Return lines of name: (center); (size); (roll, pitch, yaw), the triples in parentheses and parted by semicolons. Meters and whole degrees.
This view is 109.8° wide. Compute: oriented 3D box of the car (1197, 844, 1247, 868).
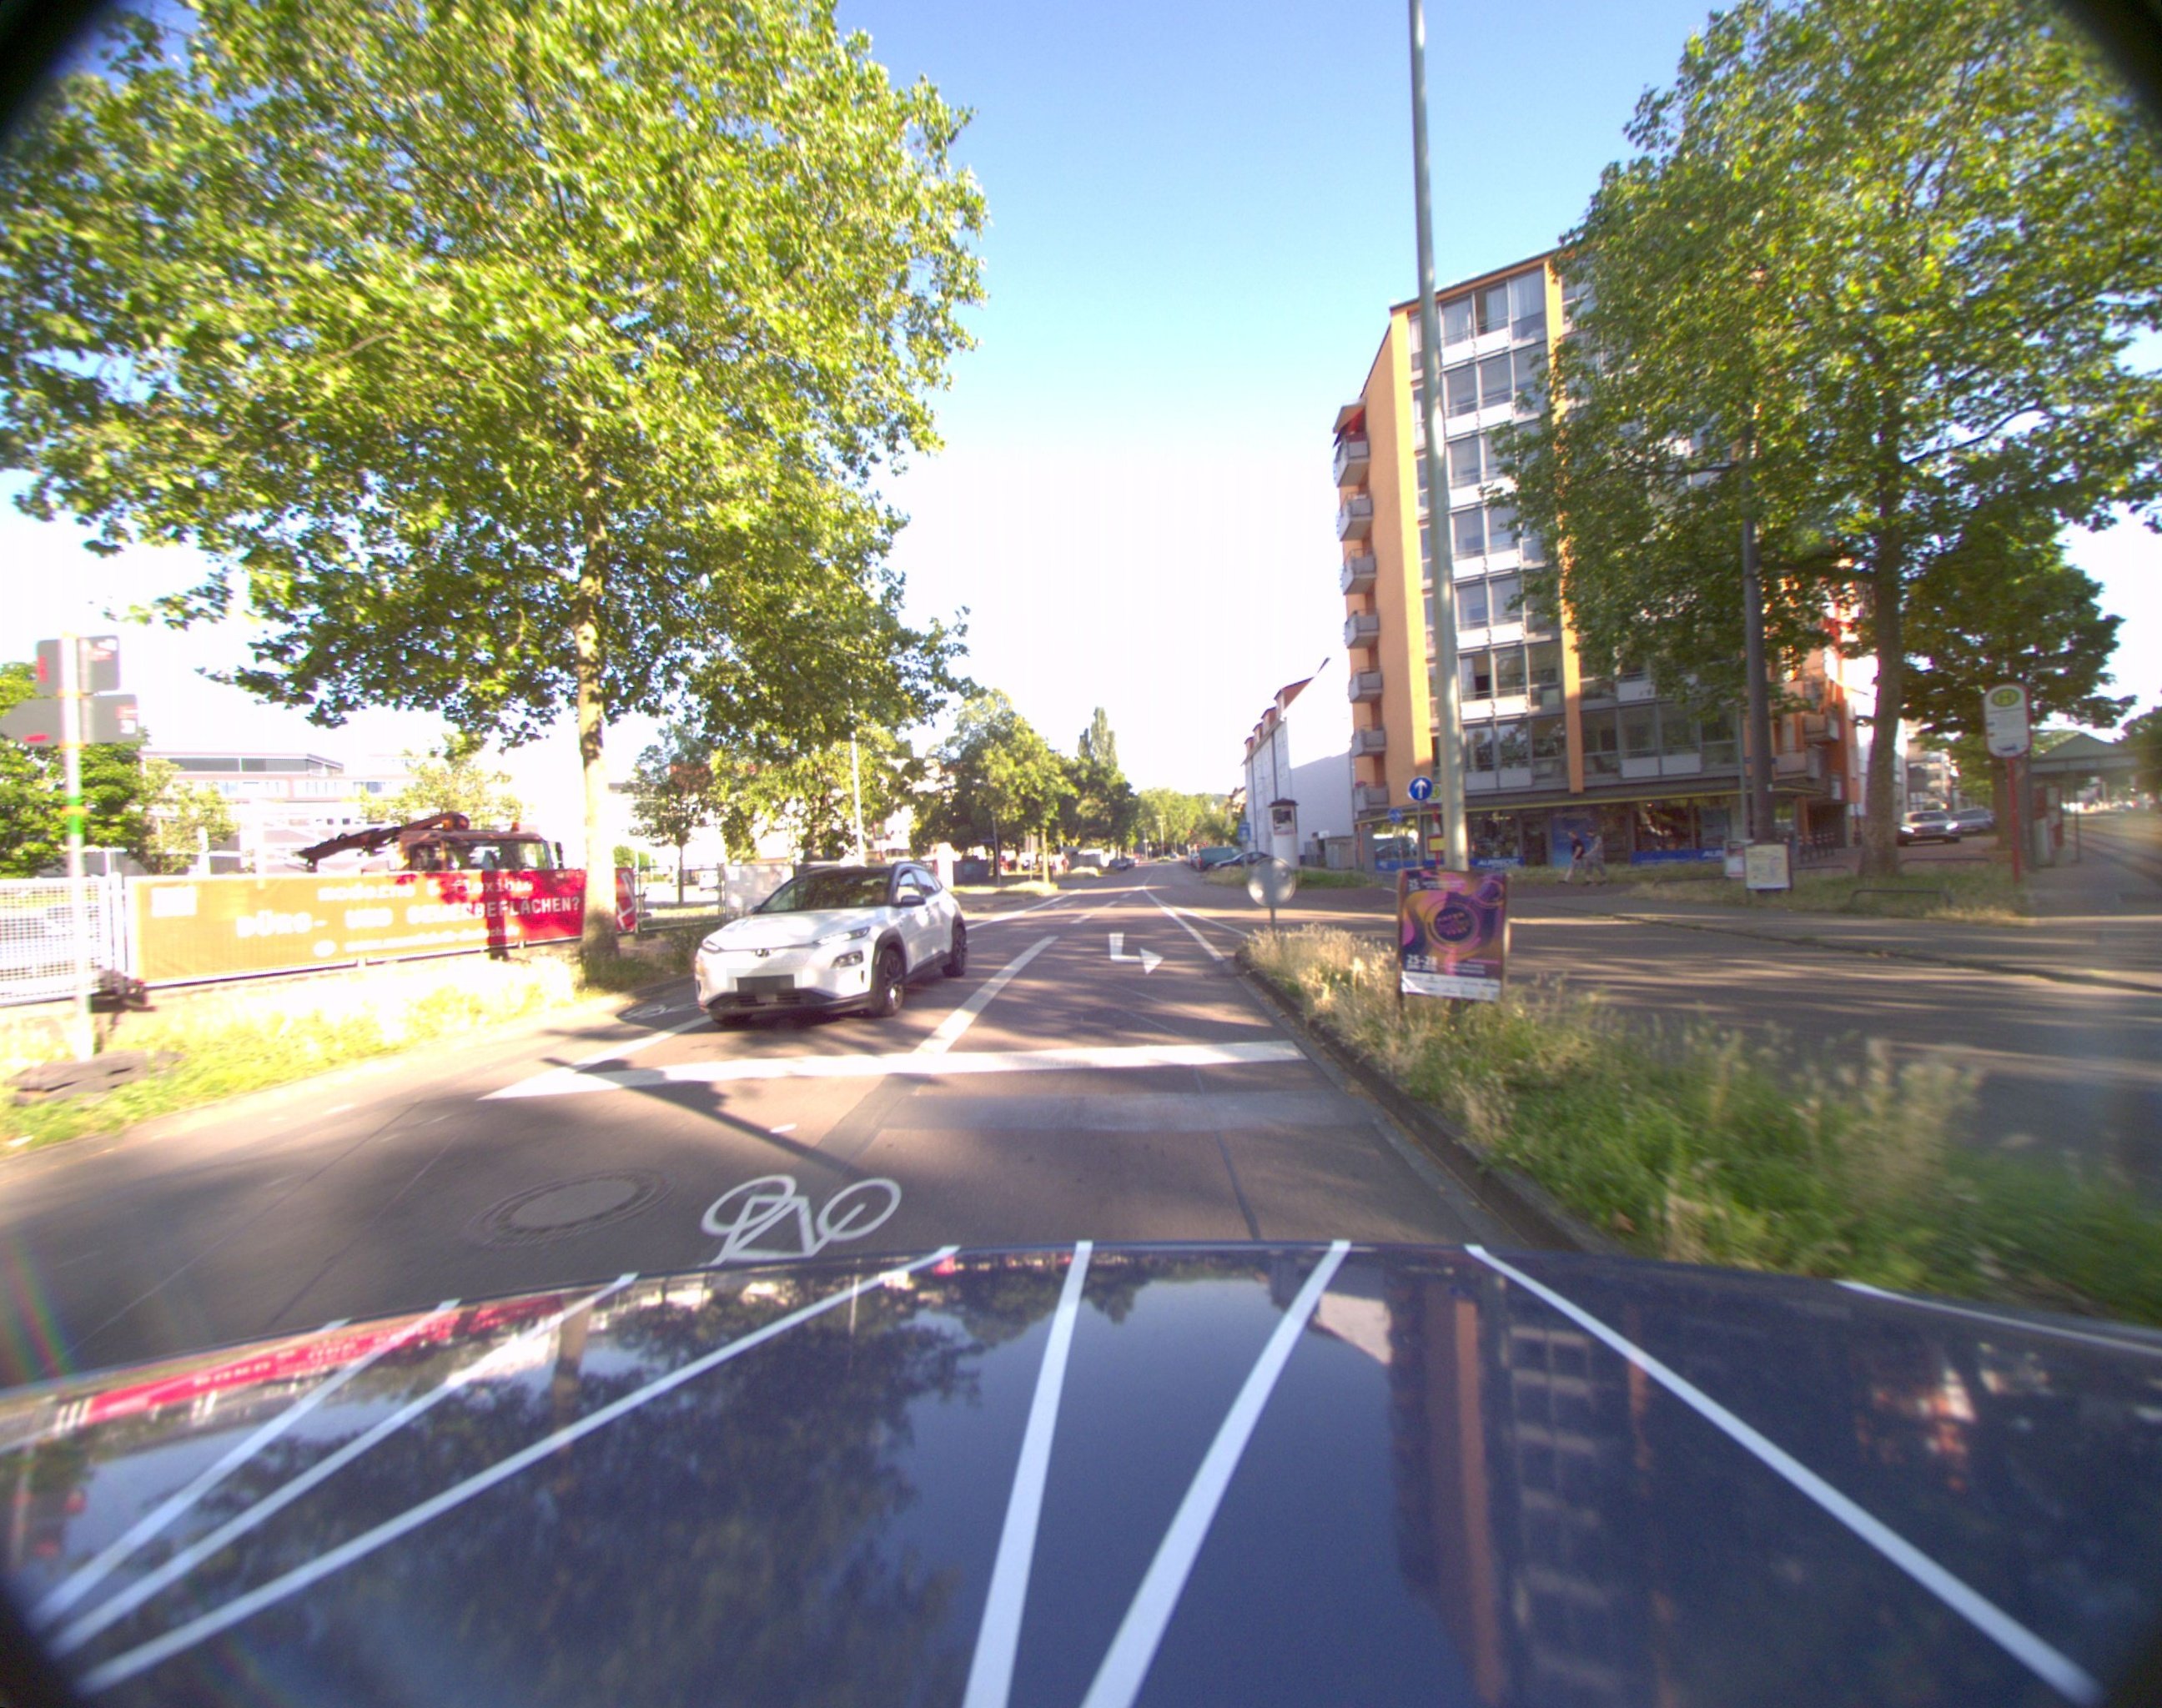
car: (11.786, 0.156, 63.736); (3.994, 1.805, 2.001); (-4, 1, 9)

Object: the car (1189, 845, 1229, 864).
car: (13.714, 0.054, 81.560); (4.116, 1.762, 1.757); (-4, 1, 9)

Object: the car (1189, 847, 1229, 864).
car: (14.174, 0.201, 84.426); (4.256, 1.564, 1.867); (-4, 1, 9)

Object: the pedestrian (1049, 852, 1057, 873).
pedestrian: (-2.363, 0.685, 64.407); (0.609, 1.727, 0.639); (-4, 1, -2)

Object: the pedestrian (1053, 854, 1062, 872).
pedestrian: (-1.967, 0.768, 63.784); (0.609, 1.426, 0.639); (-4, 1, 4)

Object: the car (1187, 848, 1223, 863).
car: (15.509, 0.127, 94.926); (4.256, 1.564, 1.867); (-4, 1, 9)

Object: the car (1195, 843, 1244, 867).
car: (12.085, 0.107, 66.479); (3.994, 1.805, 2.001); (-4, 1, 9)

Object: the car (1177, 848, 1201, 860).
car: (17.097, -0.021, 120.194); (3.537, 1.564, 1.867); (-4, 1, 9)

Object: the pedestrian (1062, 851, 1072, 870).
pedestrian: (-1.303, 0.603, 71.372); (0.695, 1.659, 0.639); (-4, 1, 6)

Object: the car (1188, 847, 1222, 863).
car: (15.468, 0.097, 95.064); (4.070, 1.741, 1.899); (-4, 1, 9)

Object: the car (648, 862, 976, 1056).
car: (-2.633, 0.971, 8.576); (1.893, 1.587, 3.968); (-4, -2, 6)

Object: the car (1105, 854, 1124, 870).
car: (3.779, 0.897, 85.241); (1.998, 1.521, 4.000); (-4, 1, 4)

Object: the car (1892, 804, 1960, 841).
car: (41.475, -1.563, 37.289); (4.053, 1.567, 2.045); (-4, 1, -40)

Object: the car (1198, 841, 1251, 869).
car: (11.468, 0.053, 61.098); (3.995, 1.936, 2.001); (-4, 1, 8)

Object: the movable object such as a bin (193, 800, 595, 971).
movable object such as a bin: (-14.524, 0.657, 16.320); (6.279, 3.031, 3.220); (-3, 1, 13)

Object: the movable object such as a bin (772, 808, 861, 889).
movable object such as a bin: (-19.331, -0.370, 55.450); (3.985, 5.447, 6.017); (-5, 1, -39)

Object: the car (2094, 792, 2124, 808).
car: (127.332, -6.686, 94.147); (4.376, 1.696, 1.934); (-4, 1, -40)

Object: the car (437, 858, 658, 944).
car: (-13.435, 1.163, 19.202); (4.597, 1.818, 2.045); (-3, 1, 17)

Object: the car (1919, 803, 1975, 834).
car: (51.268, -2.119, 44.953); (4.053, 1.567, 2.045); (-4, 1, -40)

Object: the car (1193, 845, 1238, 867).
car: (12.622, 0.157, 71.553); (4.070, 1.741, 1.899); (-4, 1, 9)

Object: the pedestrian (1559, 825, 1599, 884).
pedestrian: (15.308, 0.018, 23.354); (0.540, 1.740, 0.811); (-4, 1, -31)

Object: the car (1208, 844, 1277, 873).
car: (11.068, 0.308, 52.042); (4.423, 1.652, 2.001); (-4, 1, 12)

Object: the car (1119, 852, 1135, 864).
car: (6.251, 0.535, 103.516); (1.998, 1.521, 4.000); (-4, 1, 4)

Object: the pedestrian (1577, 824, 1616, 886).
pedestrian: (15.157, 0.033, 22.343); (0.691, 1.740, 0.629); (-4, 1, -31)
